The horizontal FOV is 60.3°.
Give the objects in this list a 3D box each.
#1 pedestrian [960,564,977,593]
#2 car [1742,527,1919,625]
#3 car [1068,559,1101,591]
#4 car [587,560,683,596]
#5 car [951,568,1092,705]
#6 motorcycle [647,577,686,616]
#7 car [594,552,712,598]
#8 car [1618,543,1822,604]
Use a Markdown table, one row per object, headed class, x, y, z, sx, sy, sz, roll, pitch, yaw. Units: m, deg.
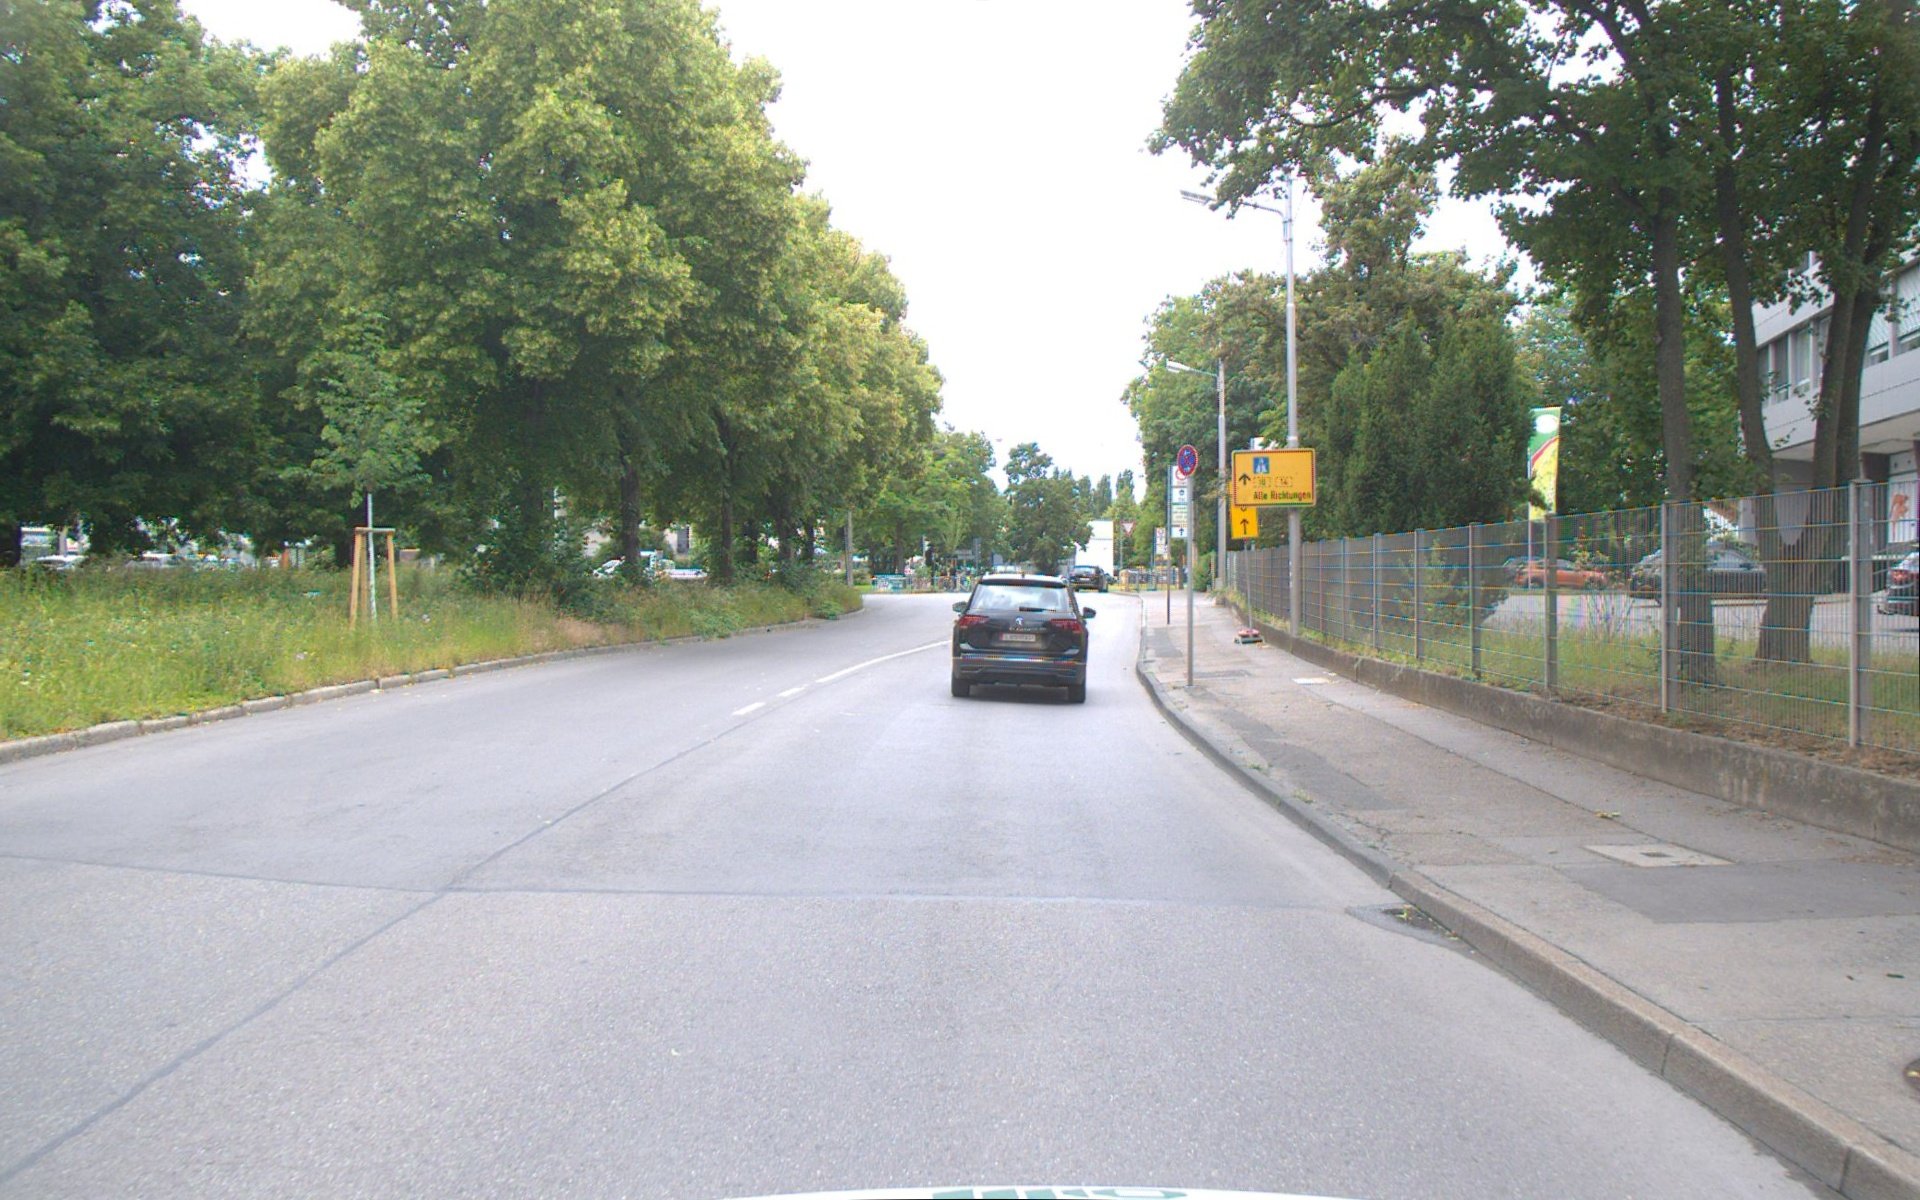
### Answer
| class | x | y | z | sx | sy | sz | roll | pitch | yaw |
| --- | --- | --- | --- | --- | --- | --- | --- | --- | --- |
| pedestrian | 0.526 | -1.366 | 104.348 | 0.722 | 1.772 | 0.732 | -2 | 1 | -43 |
| car | 15.218 | -0.389 | 26.328 | 1.985 | 1.499 | 4.618 | -2 | 0 | -43 |
| car | 6.599 | -1.331 | 87.921 | 1.624 | 1.601 | 3.830 | -1 | 1 | 3 |
| car | -18.426 | -1.275 | 93.880 | 4.872 | 1.976 | 2.050 | 0 | 1 | 11 |
| car | 0.831 | 0.450 | 22.628 | 1.703 | 1.646 | 3.642 | 2 | 0 | 2 |
| motorcycle | -9.389 | -0.124 | 52.965 | 0.553 | 1.188 | 2.038 | -1 | 1 | 9 |
| car | -16.681 | -1.377 | 90.043 | 5.946 | 2.429 | 2.395 | -1 | 1 | 0 |
| car | 20.493 | -0.705 | 44.660 | 4.760 | 1.561 | 2.017 | 0 | 2 | 34 |
